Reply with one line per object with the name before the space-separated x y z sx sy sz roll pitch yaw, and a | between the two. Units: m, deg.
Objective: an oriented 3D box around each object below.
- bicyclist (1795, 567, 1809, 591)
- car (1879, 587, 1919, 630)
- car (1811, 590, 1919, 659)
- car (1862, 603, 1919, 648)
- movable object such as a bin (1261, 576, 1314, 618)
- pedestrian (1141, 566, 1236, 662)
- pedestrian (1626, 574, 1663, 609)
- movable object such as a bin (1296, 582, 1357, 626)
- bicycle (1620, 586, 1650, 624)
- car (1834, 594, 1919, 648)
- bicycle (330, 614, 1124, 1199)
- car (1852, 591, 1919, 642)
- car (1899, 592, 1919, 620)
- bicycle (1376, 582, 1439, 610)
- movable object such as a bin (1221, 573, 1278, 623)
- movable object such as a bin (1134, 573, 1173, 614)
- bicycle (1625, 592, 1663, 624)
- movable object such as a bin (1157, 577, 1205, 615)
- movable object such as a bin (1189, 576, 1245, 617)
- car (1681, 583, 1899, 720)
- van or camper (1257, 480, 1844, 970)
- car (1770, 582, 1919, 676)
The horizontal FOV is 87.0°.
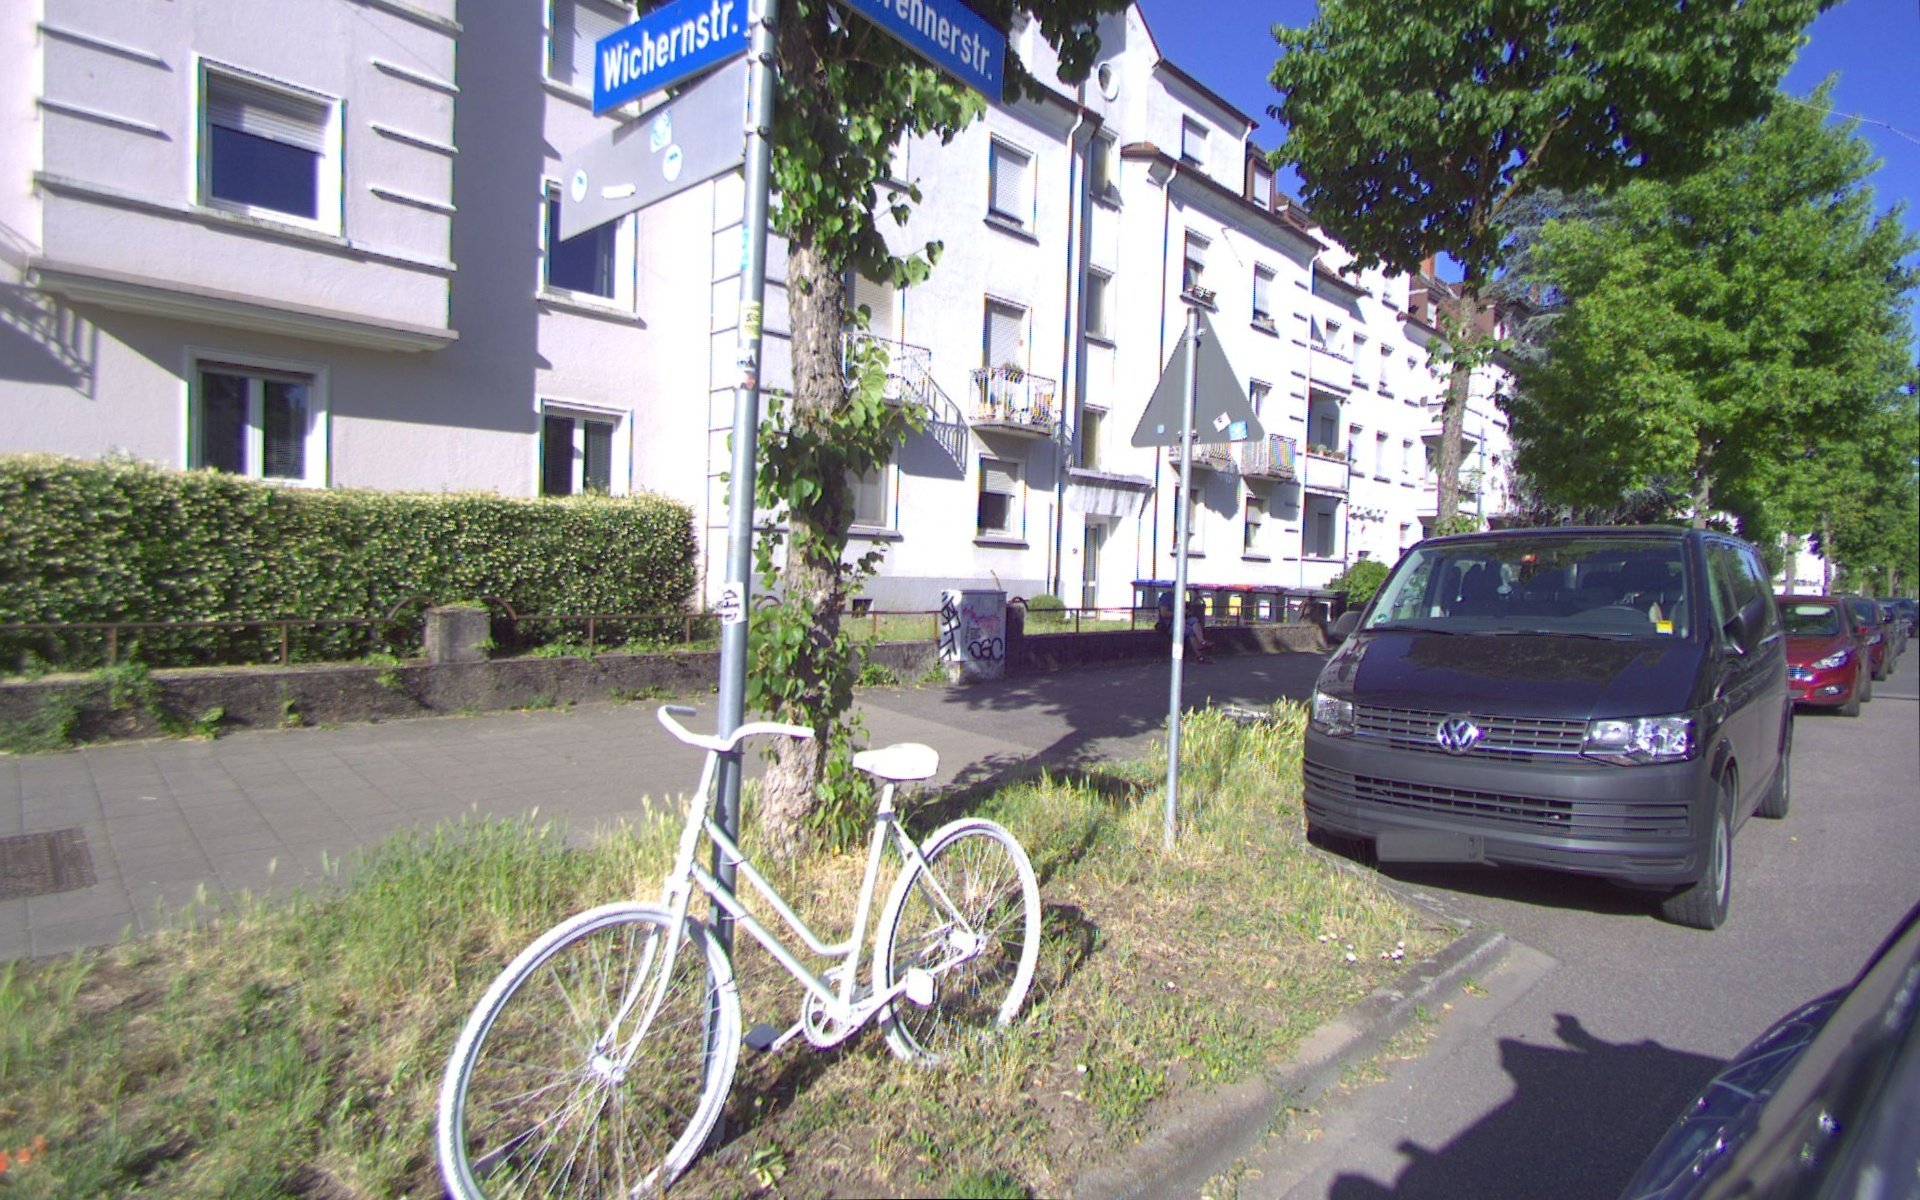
bicyclist | 50.258 -1.259 60.399 0.707 1.354 0.497 -1 4 -45
car | 38.805 0.324 41.388 1.764 1.657 3.953 0 1 43
car | 22.489 0.541 25.048 4.418 1.424 1.713 -1 4 -45
car | 33.705 0.874 36.545 1.605 1.441 3.953 0 1 43
movable object such as a bin | 6.835 -0.071 21.147 0.752 0.873 0.777 -1 1 -40
pedestrian | 3.290 0.179 14.593 1.082 1.311 0.806 0 1 44
pedestrian | 28.910 -0.364 42.764 1.020 1.395 0.714 2 2 10
movable object such as a bin | 7.425 0.071 20.496 0.992 0.873 0.777 -1 1 -40
bicycle | 22.893 0.155 34.316 0.489 1.212 2.141 0 1 44
car | 26.594 0.554 29.243 3.636 1.415 1.765 -1 1 -45
bicycle | -0.362 0.680 2.528 0.527 1.208 2.000 2 2 41
car | 29.845 0.487 32.594 1.605 1.482 3.811 0 1 43
car | 52.832 0.324 55.748 1.604 1.428 3.613 0 1 43
bicycle | 16.350 -0.161 37.034 0.549 0.929 2.035 -1 4 -40
movable object such as a bin | 6.217 -0.047 21.737 0.992 1.039 0.777 -1 1 -40
movable object such as a bin | 4.520 -0.161 23.606 0.585 0.933 0.672 -1 1 -40
bicycle | 24.529 0.267 36.253 2.214 1.023 0.432 -1 -23 -47
movable object such as a bin | 4.998 -0.101 22.922 0.730 0.832 0.777 -1 1 -40
movable object such as a bin | 5.680 -0.088 22.395 0.992 0.873 0.777 -1 1 -39
car | 12.319 0.595 14.891 4.890 1.633 1.901 -1 2 -44
van or camper | 4.123 0.429 6.487 1.990 1.886 5.300 0 1 45
car | 18.425 0.500 21.008 4.519 1.586 1.932 -1 5 -45
